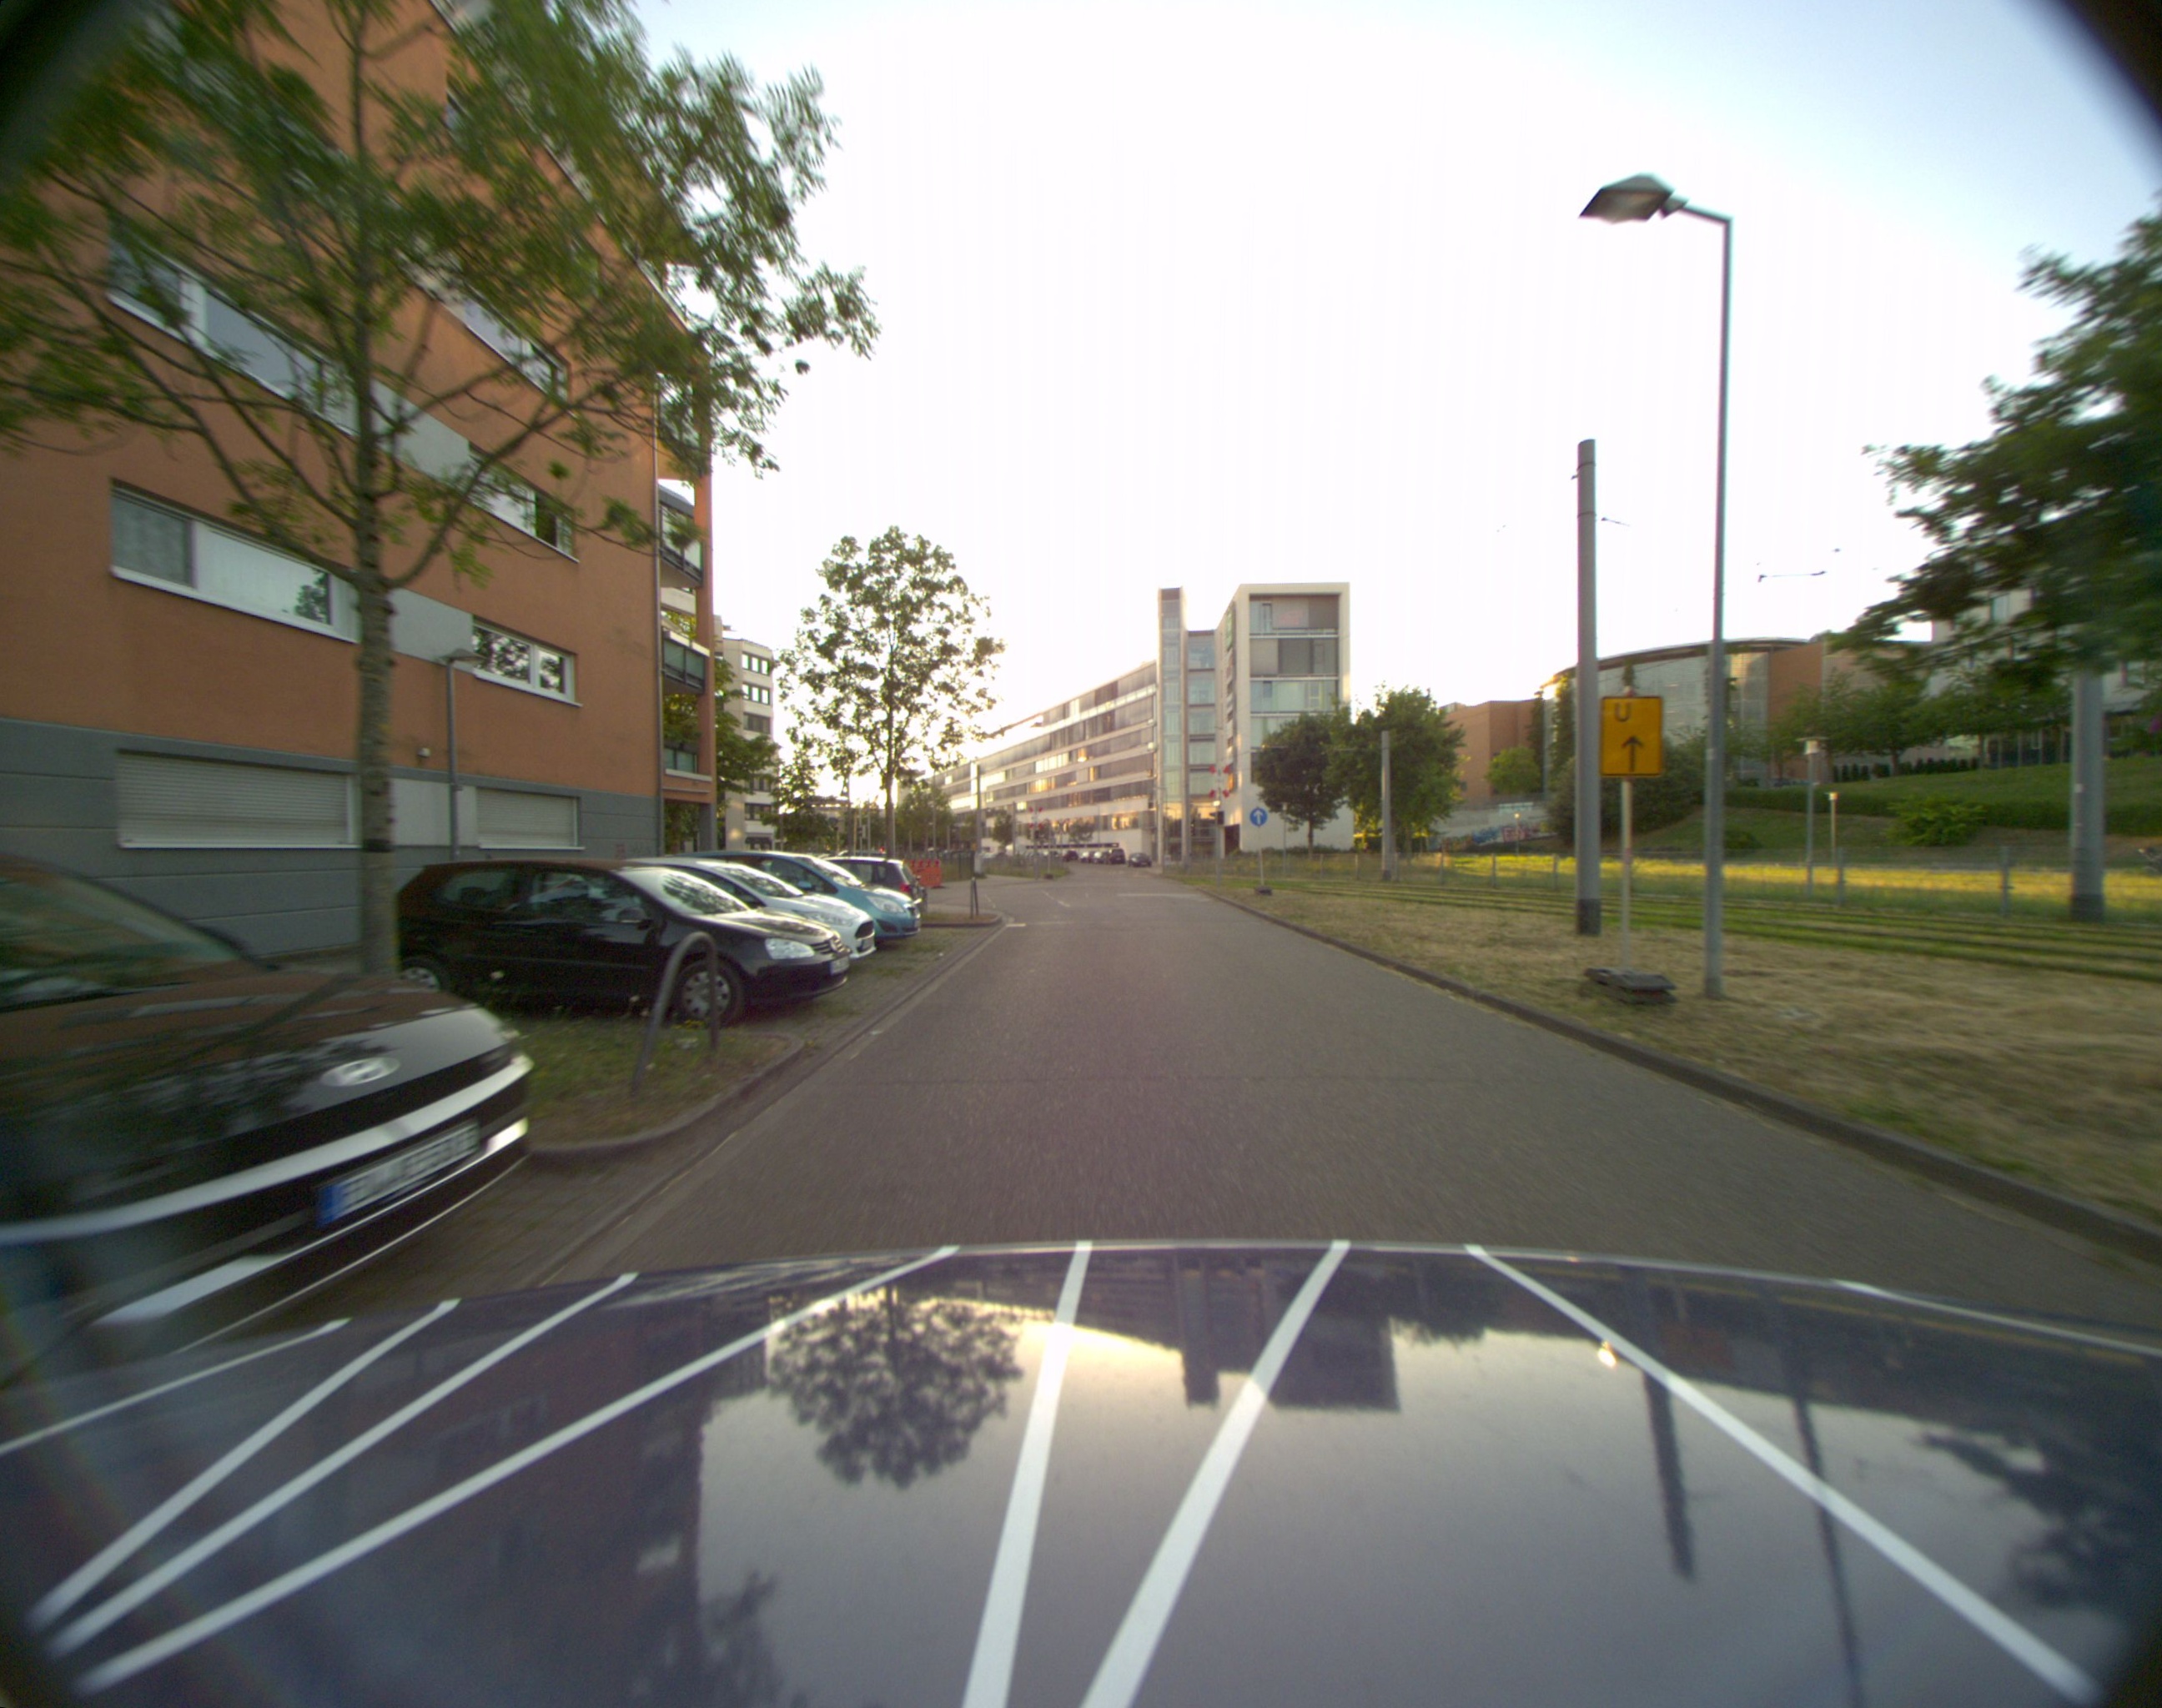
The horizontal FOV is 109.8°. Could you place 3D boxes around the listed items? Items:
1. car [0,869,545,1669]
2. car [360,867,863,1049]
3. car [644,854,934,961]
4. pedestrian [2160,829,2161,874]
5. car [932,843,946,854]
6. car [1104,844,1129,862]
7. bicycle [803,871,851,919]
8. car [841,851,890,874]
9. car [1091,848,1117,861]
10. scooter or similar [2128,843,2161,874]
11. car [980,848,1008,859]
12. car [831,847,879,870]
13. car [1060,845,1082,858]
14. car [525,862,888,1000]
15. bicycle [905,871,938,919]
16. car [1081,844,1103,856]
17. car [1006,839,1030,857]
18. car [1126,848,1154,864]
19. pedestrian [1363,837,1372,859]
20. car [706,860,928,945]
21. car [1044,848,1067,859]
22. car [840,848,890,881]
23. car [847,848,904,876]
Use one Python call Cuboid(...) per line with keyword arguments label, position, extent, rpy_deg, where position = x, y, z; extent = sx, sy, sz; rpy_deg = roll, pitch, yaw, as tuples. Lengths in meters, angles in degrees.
Cuboid(label="car", position=(-4.311, 0.853, 2.228), extent=(4.226, 1.560, 1.792), rpy_deg=(1, 1, 1))
Cuboid(label="car", position=(-4.179, 0.890, 7.164), extent=(3.783, 1.486, 1.539), rpy_deg=(-1, 0, 1))
Cuboid(label="car", position=(-4.612, 0.805, 12.375), extent=(4.060, 1.560, 1.673), rpy_deg=(1, 1, 1))
Cuboid(label="pedestrian", position=(43.988, -0.120, 30.356), extent=(0.617, 1.826, 0.790), rpy_deg=(-3, 1, 0))
Cuboid(label="car", position=(-31.850, -1.218, 170.101), extent=(2.003, 2.570, 3.991), rpy_deg=(-1, 1, -26))
Cuboid(label="car", position=(3.977, -0.098, 86.542), extent=(1.895, 1.961, 4.513), rpy_deg=(-3, 1, -9))
Cuboid(label="bicycle", position=(-6.343, 0.990, 19.098), extent=(0.530, 1.120, 1.963), rpy_deg=(-2, -1, -1))
Cuboid(label="car", position=(-19.282, 0.743, 68.042), extent=(4.004, 2.002, 1.996), rpy_deg=(-1, 1, -23))
Cuboid(label="car", position=(2.750, 0.084, 91.295), extent=(1.867, 1.468, 4.514), rpy_deg=(-3, 1, -15))
Cuboid(label="scooter or similar", position=(44.011, 0.182, 31.320), extent=(0.617, 1.237, 0.790), rpy_deg=(-3, 1, 0))
Cuboid(label="car", position=(-11.509, -0.106, 101.135), extent=(1.713, 1.368, 4.007), rpy_deg=(-1, 1, 28))
Cuboid(label="car", position=(-20.752, 0.368, 69.854), extent=(4.004, 2.002, 1.996), rpy_deg=(-1, 1, -23))
Cuboid(label="car", position=(-1.423, -0.374, 104.345), extent=(1.799, 1.676, 3.993), rpy_deg=(-1, 1, -20))
Cuboid(label="car", position=(-4.674, 0.931, 9.865), extent=(3.886, 1.560, 1.620), rpy_deg=(-1, 1, 1))
Cuboid(label="bicycle", position=(-4.052, 1.017, 19.405), extent=(0.719, 1.145, 1.897), rpy_deg=(1, -1, -9))
Cuboid(label="car", position=(1.404, -0.477, 95.904), extent=(1.654, 1.468, 3.760), rpy_deg=(-1, 1, -18))
Cuboid(label="car", position=(-10.275, -0.884, 123.110), extent=(2.008, 2.859, 6.242), rpy_deg=(0, 0, -24))
Cuboid(label="car", position=(5.840, 0.200, 75.289), extent=(1.858, 1.434, 4.224), rpy_deg=(-3, 1, -8))
Cuboid(label="pedestrian", position=(23.738, -0.469, 62.898), extent=(0.450, 1.826, 0.483), rpy_deg=(-3, 1, -19))
Cuboid(label="car", position=(-5.011, 0.896, 14.837), extent=(3.760, 1.465, 1.612), rpy_deg=(-1, 1, -3))
Cuboid(label="car", position=(-3.700, -0.061, 110.171), extent=(1.800, 1.542, 3.991), rpy_deg=(-3, 2, -27))
Cuboid(label="car", position=(-13.716, 0.622, 48.412), extent=(1.998, 2.002, 3.999), rpy_deg=(-1, 1, 0))
Cuboid(label="car", position=(-15.642, 0.597, 57.840), extent=(4.004, 2.002, 1.996), rpy_deg=(-1, 1, -21))
